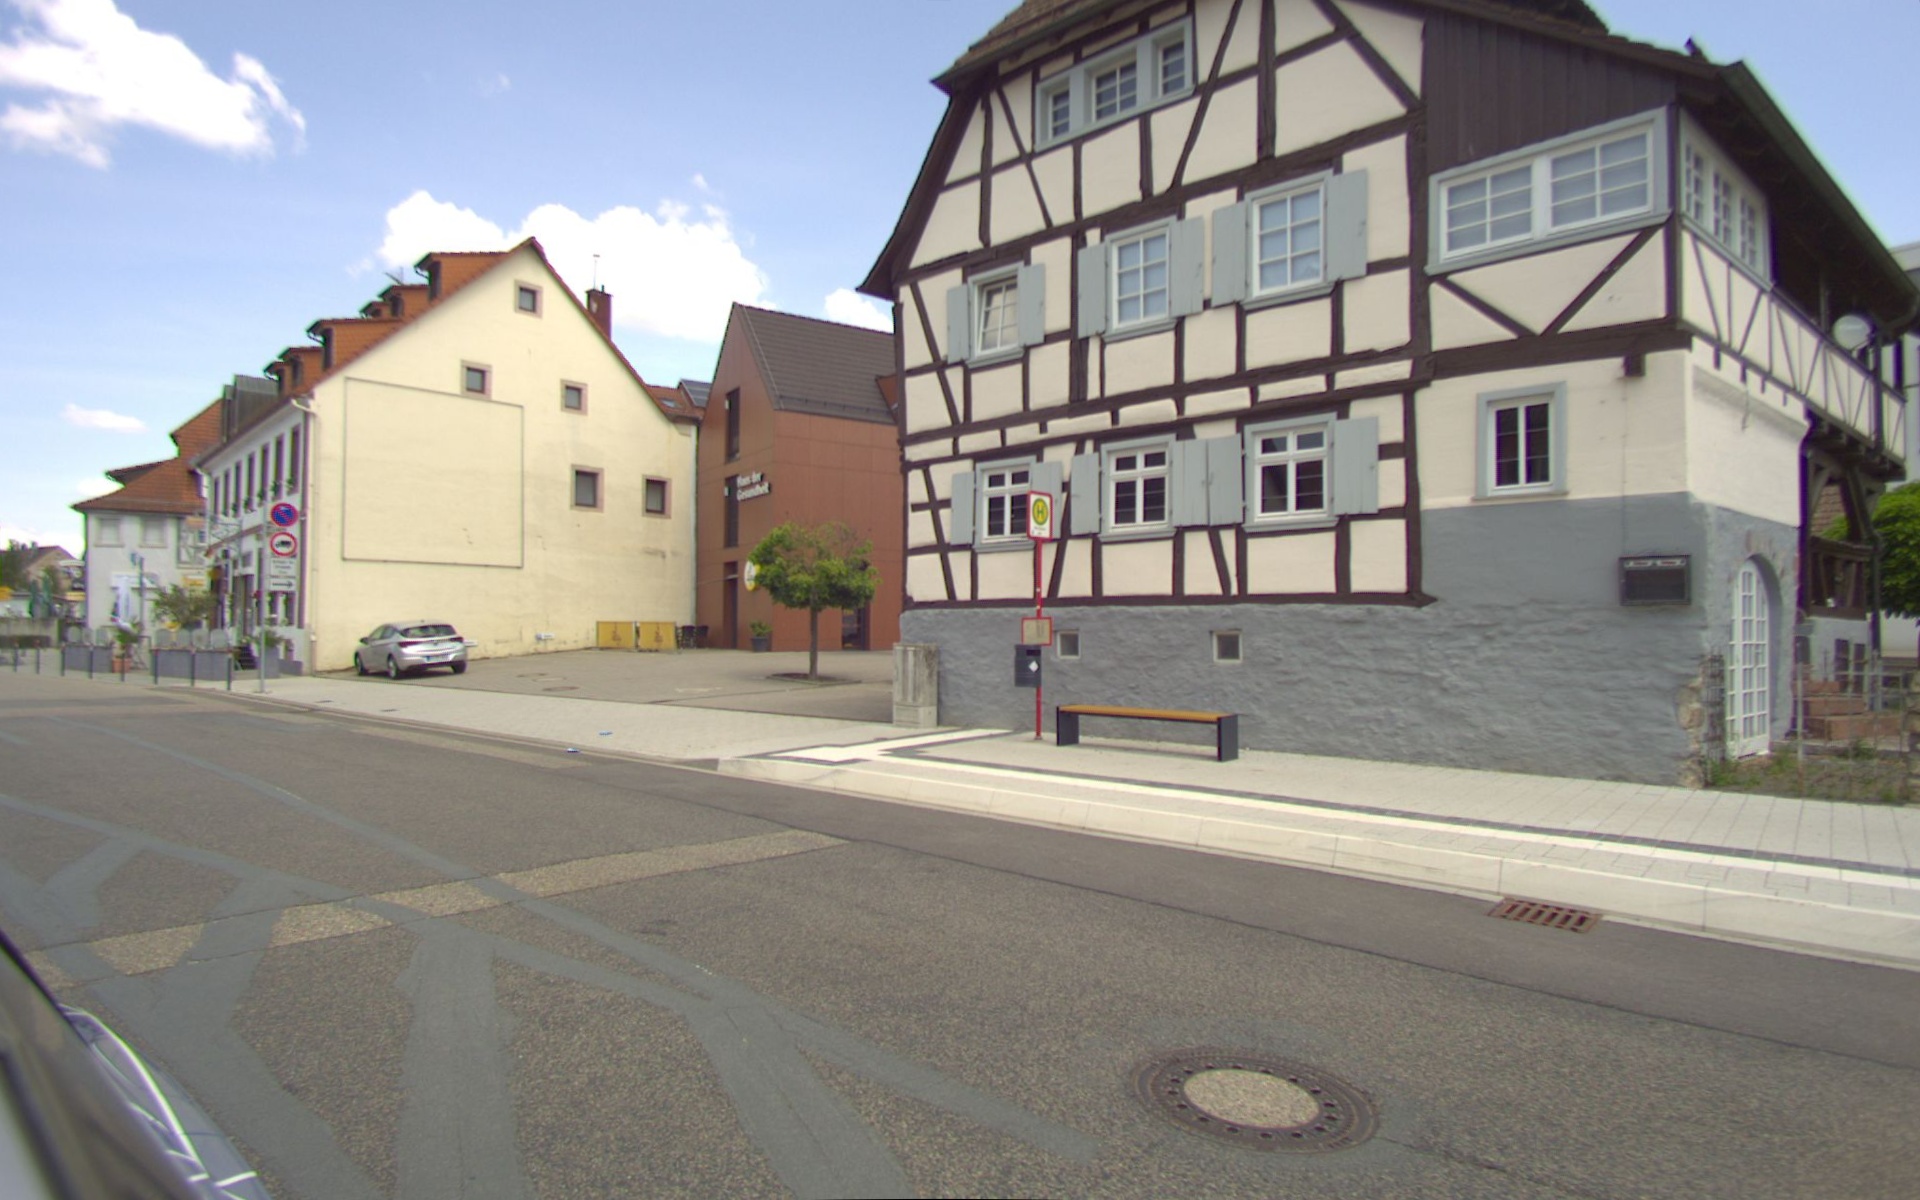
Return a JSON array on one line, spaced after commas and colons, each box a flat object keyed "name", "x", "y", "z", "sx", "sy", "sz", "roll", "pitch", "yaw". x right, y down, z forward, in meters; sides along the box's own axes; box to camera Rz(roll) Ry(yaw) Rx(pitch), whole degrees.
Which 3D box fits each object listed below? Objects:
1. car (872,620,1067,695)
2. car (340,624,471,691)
[{"name": "car", "x": 0.299, "y": 1.254, "z": 23.305, "sx": 4.375, "sy": 1.399, "sz": 1.966, "roll": -2, "pitch": 0, "yaw": -44}, {"name": "car", "x": -14.925, "y": 1.484, "z": 27.134, "sx": 4.275, "sy": 1.503, "sz": 1.739, "roll": -1, "pitch": 3, "yaw": 43}]
